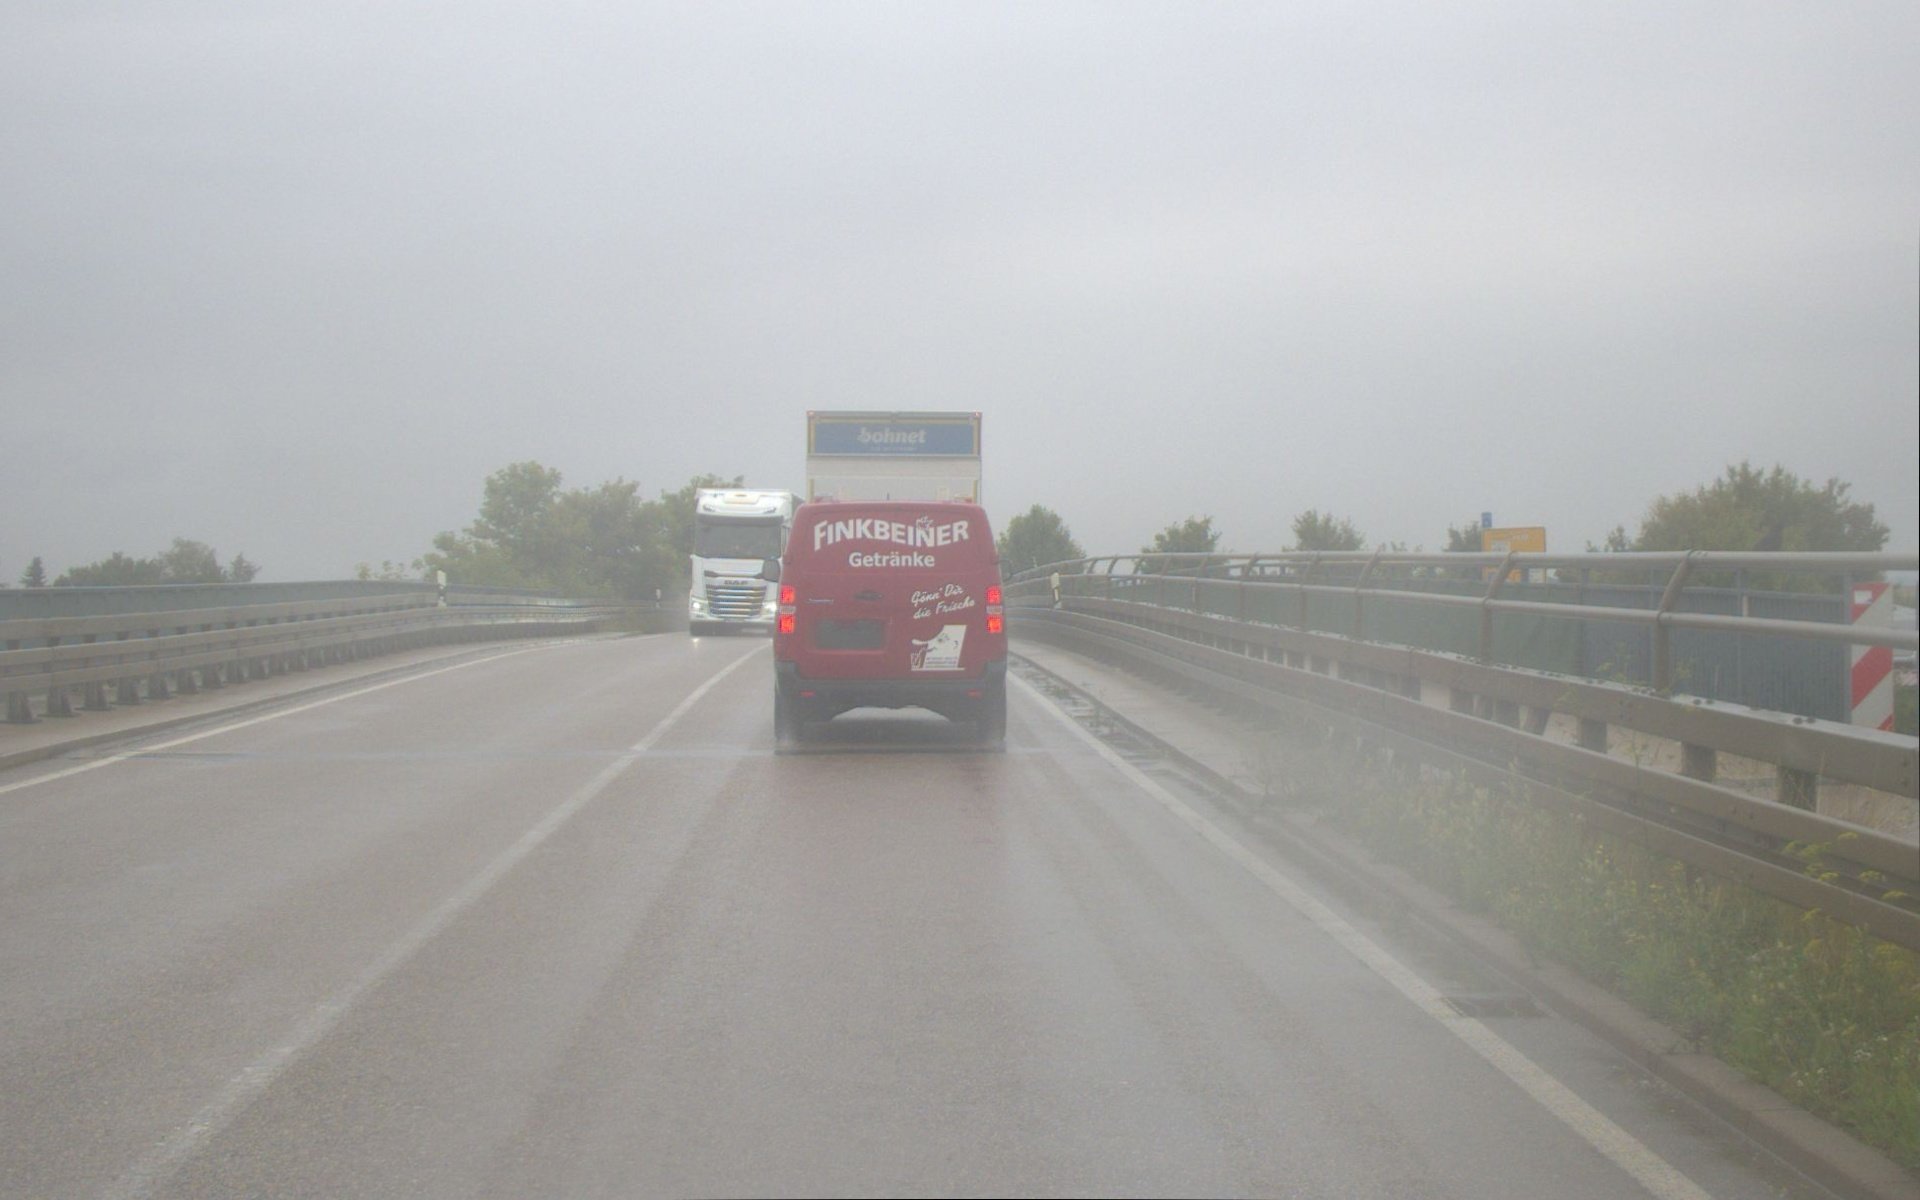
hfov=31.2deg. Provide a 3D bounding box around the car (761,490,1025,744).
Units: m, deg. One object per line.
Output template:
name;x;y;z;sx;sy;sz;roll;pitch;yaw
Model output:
car;-0.595;0.082;28.542;1.993;1.919;4.144;1;1;-2

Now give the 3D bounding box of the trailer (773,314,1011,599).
trailer;-0.970;-2.057;53.427;3.201;3.908;8.739;3;0;0

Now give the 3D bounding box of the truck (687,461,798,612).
truck;-5.895;-1.706;94.394;2.817;3.956;8.764;0;1;-2
